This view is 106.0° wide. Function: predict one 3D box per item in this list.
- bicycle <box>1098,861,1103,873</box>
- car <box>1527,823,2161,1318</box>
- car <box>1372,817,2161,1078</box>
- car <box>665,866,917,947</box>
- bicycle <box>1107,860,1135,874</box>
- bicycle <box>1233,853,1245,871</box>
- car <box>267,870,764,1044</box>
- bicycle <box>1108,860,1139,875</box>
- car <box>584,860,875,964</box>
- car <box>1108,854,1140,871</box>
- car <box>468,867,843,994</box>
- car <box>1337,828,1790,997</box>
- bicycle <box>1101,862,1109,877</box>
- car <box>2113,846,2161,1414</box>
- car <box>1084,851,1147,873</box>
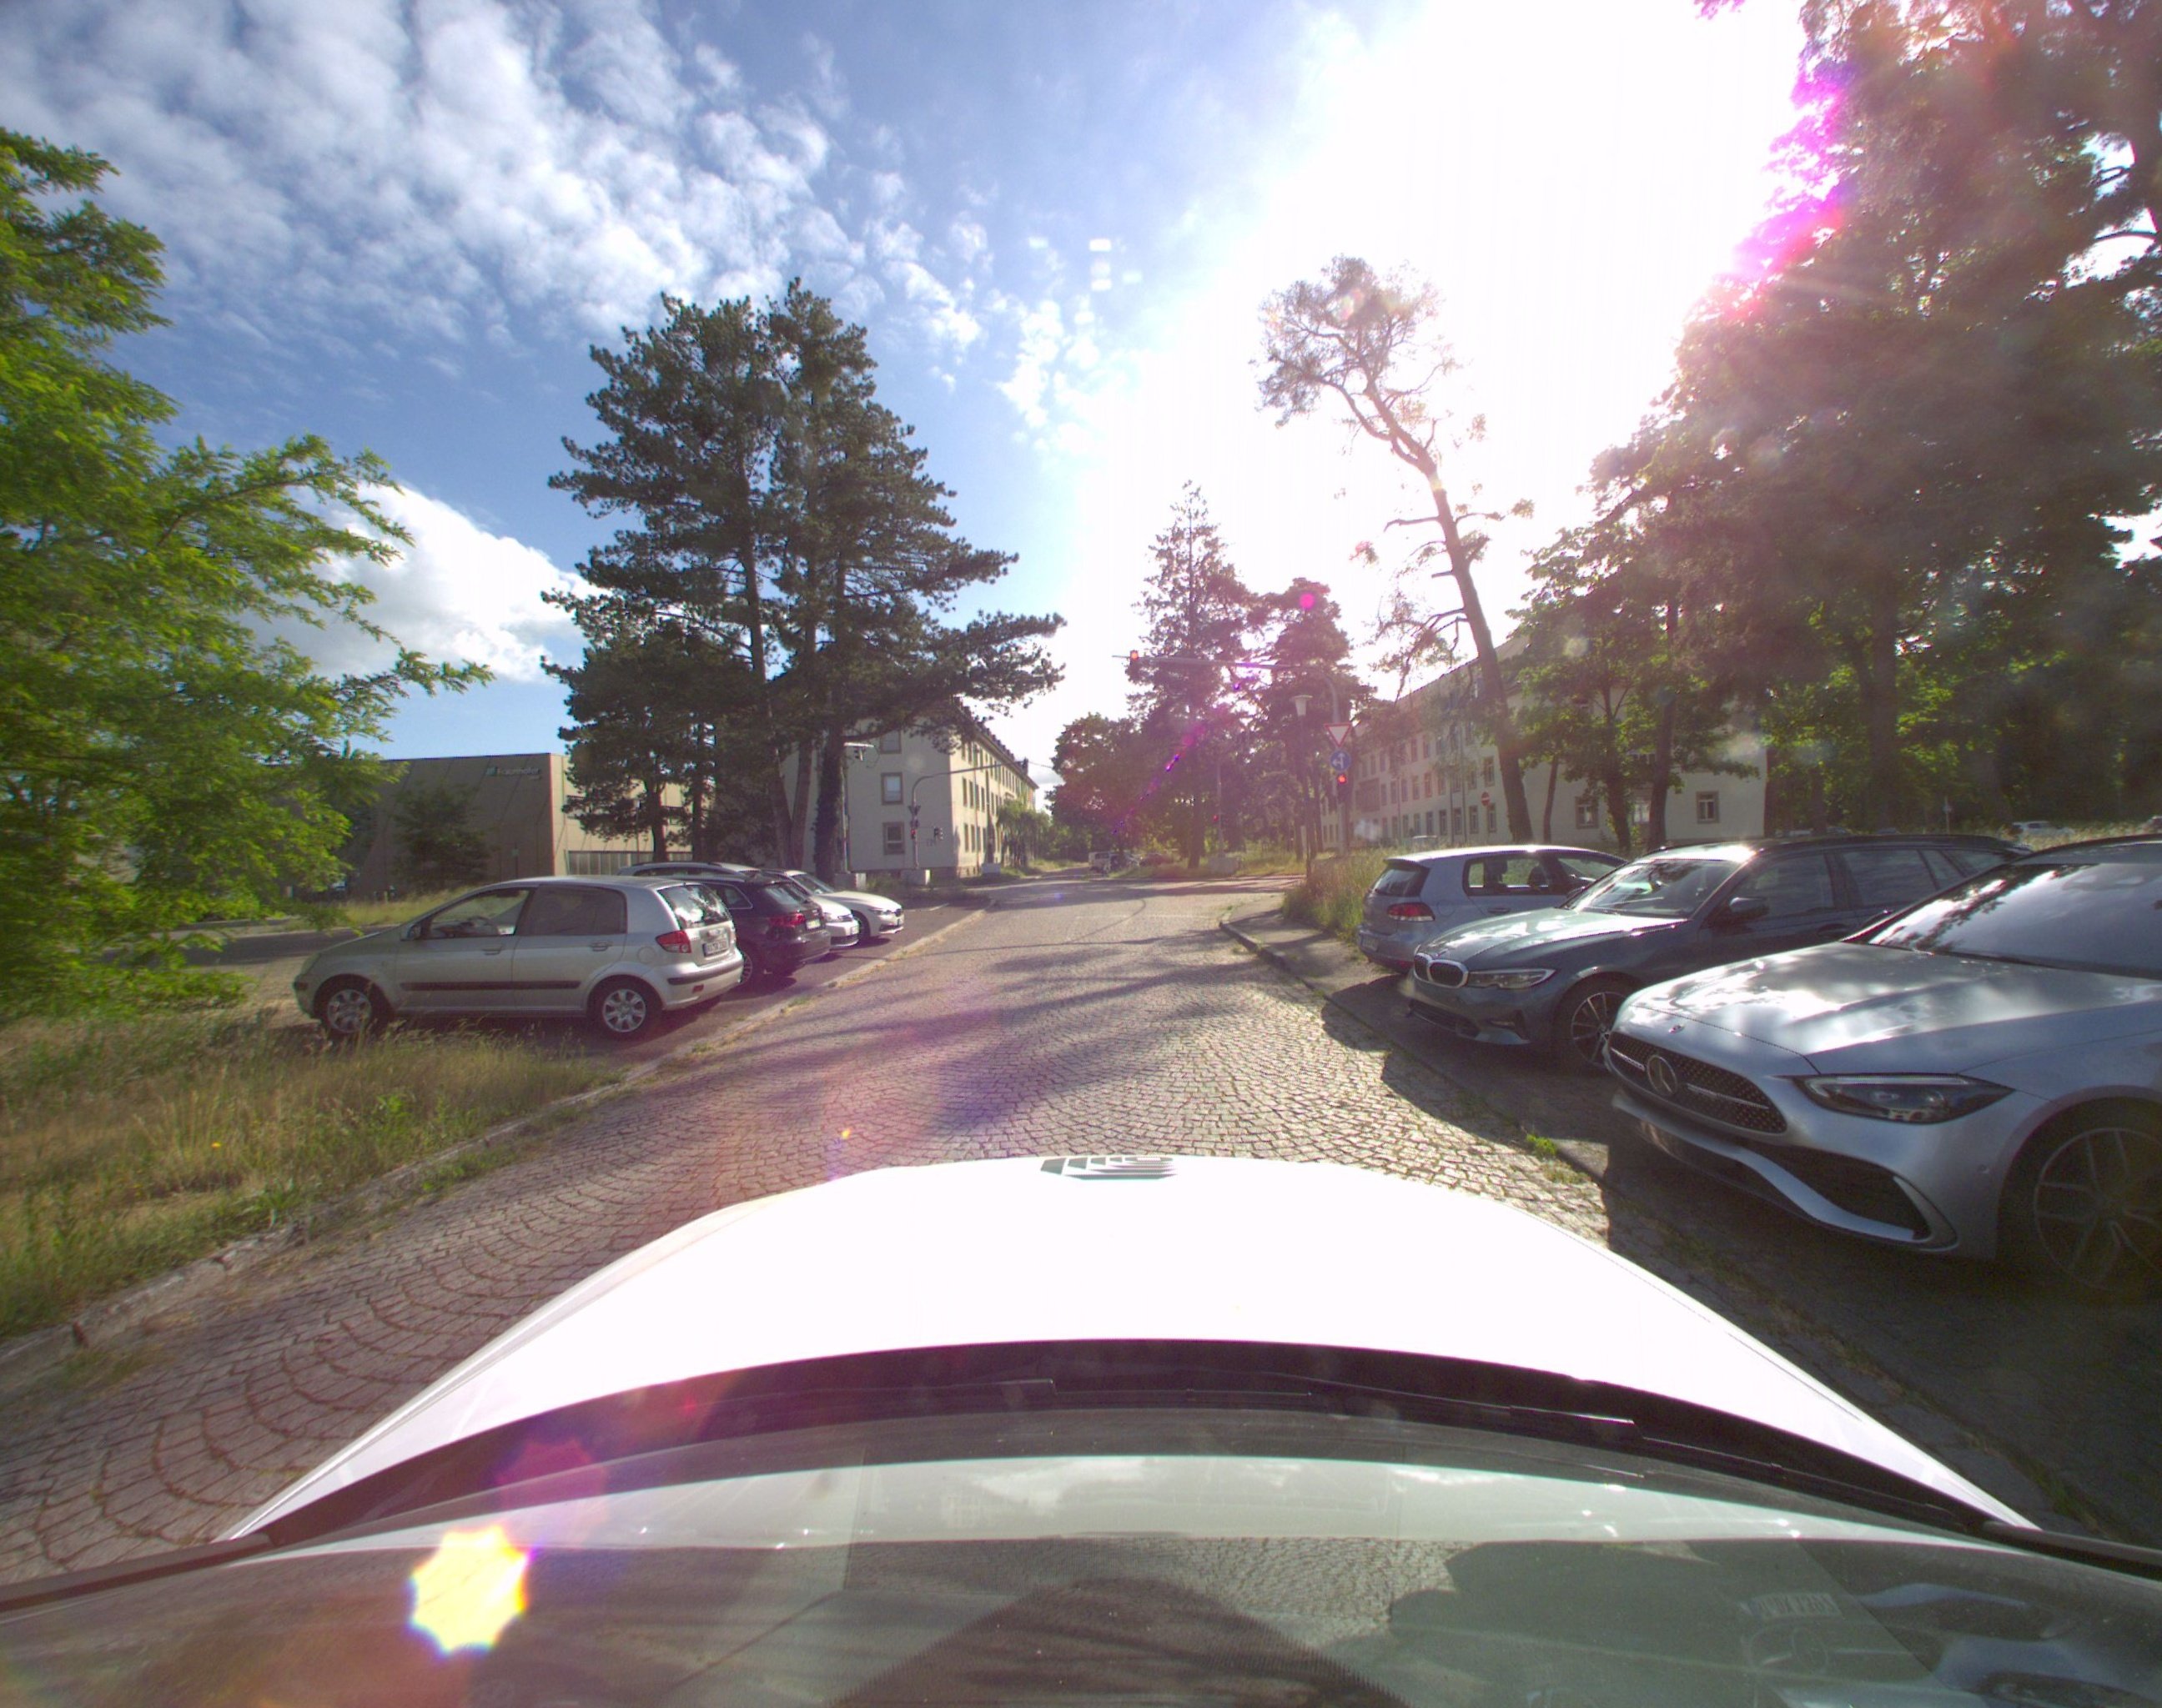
[{"bbox_3d":[1.641,1.065,67.508,0.415,1.010,1.484,0,-1,3],"label":"bicycle"},{"bbox_3d":[4.607,0.624,3.431,4.415,1.415,1.782,-4,0,2],"label":"car"},{"bbox_3d":[4.764,0.609,6.096,4.542,1.415,1.637,-4,0,2],"label":"car"},{"bbox_3d":[-5.606,0.990,16.148,4.321,1.468,1.829,0,0,-2],"label":"car"},{"bbox_3d":[2.896,0.981,59.534,2.002,1.010,0.631,0,-1,-6],"label":"bicycle"},{"bbox_3d":[8.838,0.447,45.584,0.300,0.961,1.585,0,-1,-2],"label":"bicycle"},{"bbox_3d":[-5.352,0.930,8.094,3.736,1.487,1.645,0,0,-2],"label":"car"},{"bbox_3d":[3.007,0.962,57.817,2.106,1.010,0.619,0,-1,-6],"label":"bicycle"},{"bbox_3d":[-5.753,0.910,13.758,4.069,1.593,1.884,0,0,-2],"label":"car"},{"bbox_3d":[3.798,0.770,72.286,2.775,1.467,1.669,0,-1,-3],"label":"car"},{"bbox_3d":[-5.418,0.932,10.787,3.976,1.480,1.802,0,0,-2],"label":"car"},{"bbox_3d":[4.983,0.578,8.820,3.867,1.415,1.637,-4,0,2],"label":"car"},{"bbox_3d":[1.597,1.044,54.263,0.466,1.010,1.585,0,-1,-2],"label":"bicycle"},{"bbox_3d":[4.730,0.580,1.229,4.111,1.449,1.637,-4,0,2],"label":"car"},{"bbox_3d":[3.184,0.732,75.801,5.534,2.014,1.989,0,-1,-17],"label":"car"}]
